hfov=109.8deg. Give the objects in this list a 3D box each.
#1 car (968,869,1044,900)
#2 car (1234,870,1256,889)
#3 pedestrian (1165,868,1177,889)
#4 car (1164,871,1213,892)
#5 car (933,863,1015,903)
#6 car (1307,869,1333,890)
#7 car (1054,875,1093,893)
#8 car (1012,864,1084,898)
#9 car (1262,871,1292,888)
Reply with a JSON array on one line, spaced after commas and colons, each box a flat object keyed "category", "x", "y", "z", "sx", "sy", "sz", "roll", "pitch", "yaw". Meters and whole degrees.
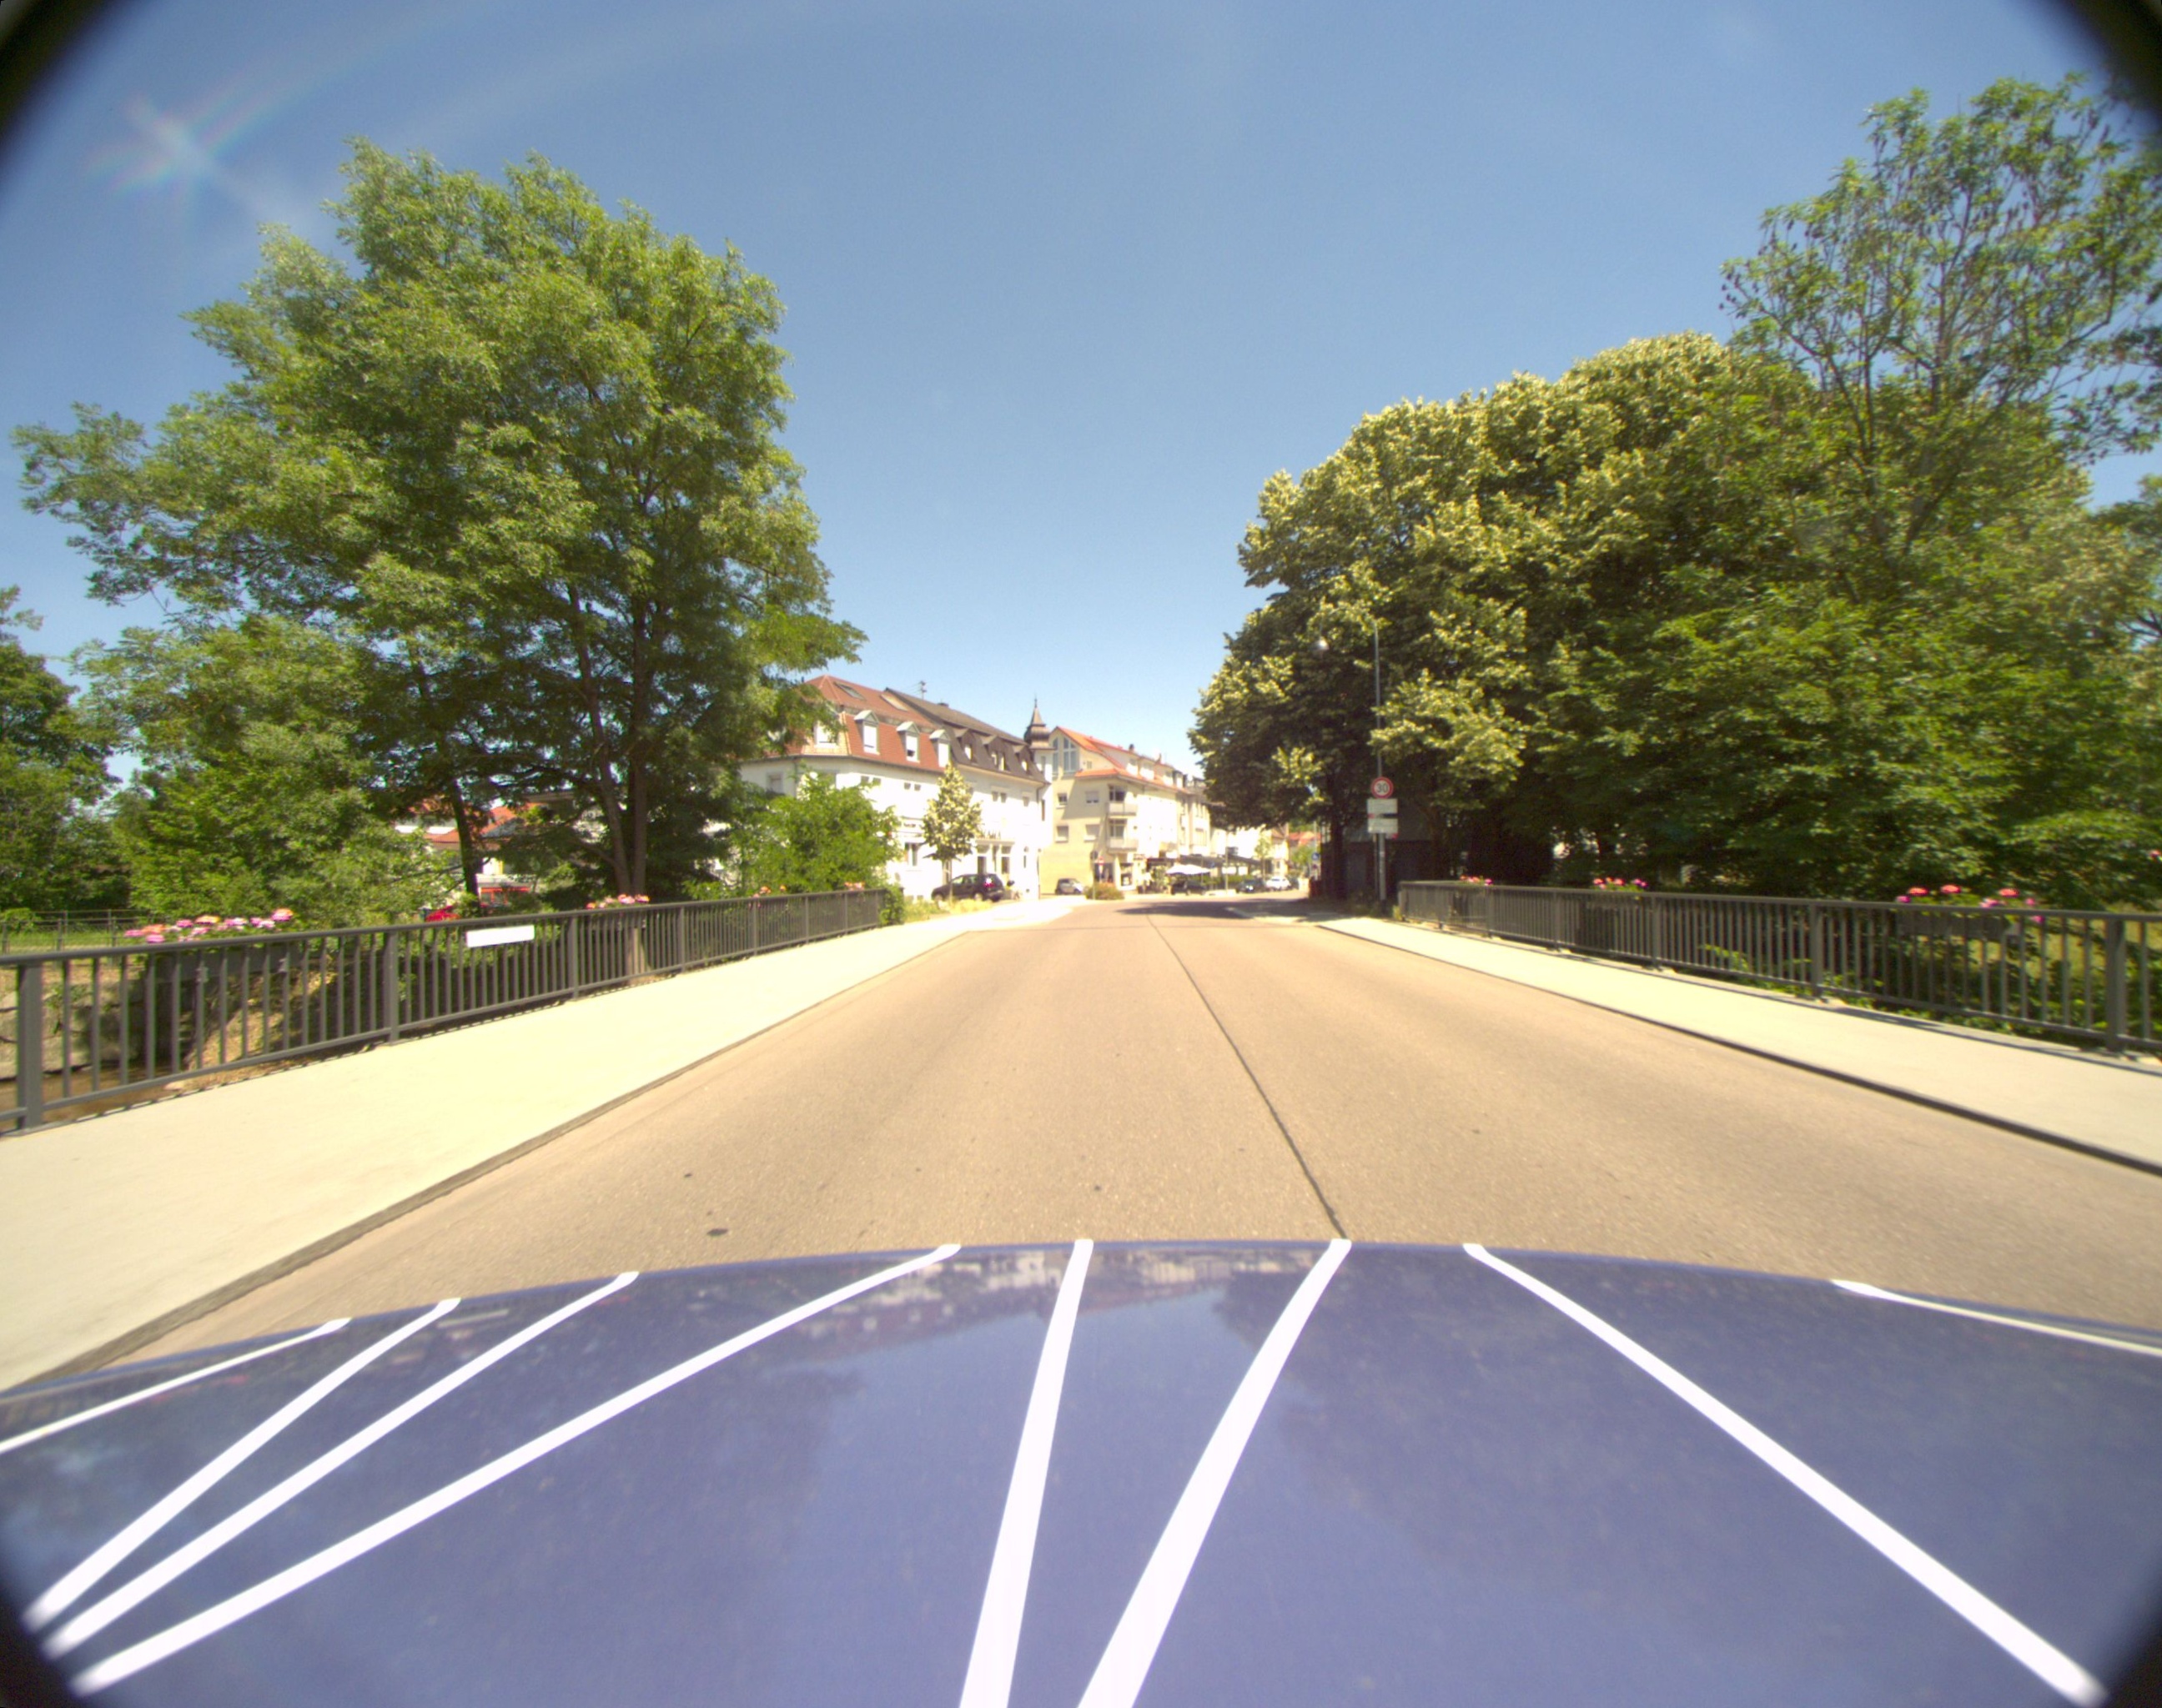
[{"category": "car", "x": -4.483, "y": 1.822, "z": 45.206, "sx": 3.990, "sy": 1.660, "sz": 2.004, "roll": -3, "pitch": -2, "yaw": 27}, {"category": "car", "x": 16.015, "y": 2.516, "z": 74.193, "sx": 1.997, "sy": 1.705, "sz": 4.005, "roll": 1, "pitch": -2, "yaw": 11}, {"category": "pedestrian", "x": 7.923, "y": 2.152, "z": 66.790, "sx": 0.814, "sy": 1.745, "sz": 0.636, "roll": 1, "pitch": 1, "yaw": 24}, {"category": "car", "x": 9.368, "y": 2.354, "z": 66.119, "sx": 4.008, "sy": 1.705, "sz": 1.995, "roll": 0, "pitch": -1, "yaw": -41}, {"category": "car", "x": -5.923, "y": 1.605, "z": 42.031, "sx": 3.990, "sy": 2.001, "sz": 2.004, "roll": -3, "pitch": -1, "yaw": 27}, {"category": "car", "x": 21.984, "y": 2.377, "z": 69.947, "sx": 1.995, "sy": 1.829, "sz": 4.008, "roll": -1, "pitch": -3, "yaw": 21}, {"category": "car", "x": -0.677, "y": 2.662, "z": 67.572, "sx": 3.038, "sy": 1.443, "sz": 1.570, "roll": -3, "pitch": -1, "yaw": 23}, {"category": "car", "x": -2.050, "y": 1.700, "z": 47.519, "sx": 3.990, "sy": 2.001, "sz": 2.004, "roll": -2, "pitch": -3, "yaw": 27}, {"category": "car", "x": 20.878, "y": 2.674, "z": 80.813, "sx": 1.994, "sy": 1.674, "sz": 4.008, "roll": 0, "pitch": -1, "yaw": 31}]
